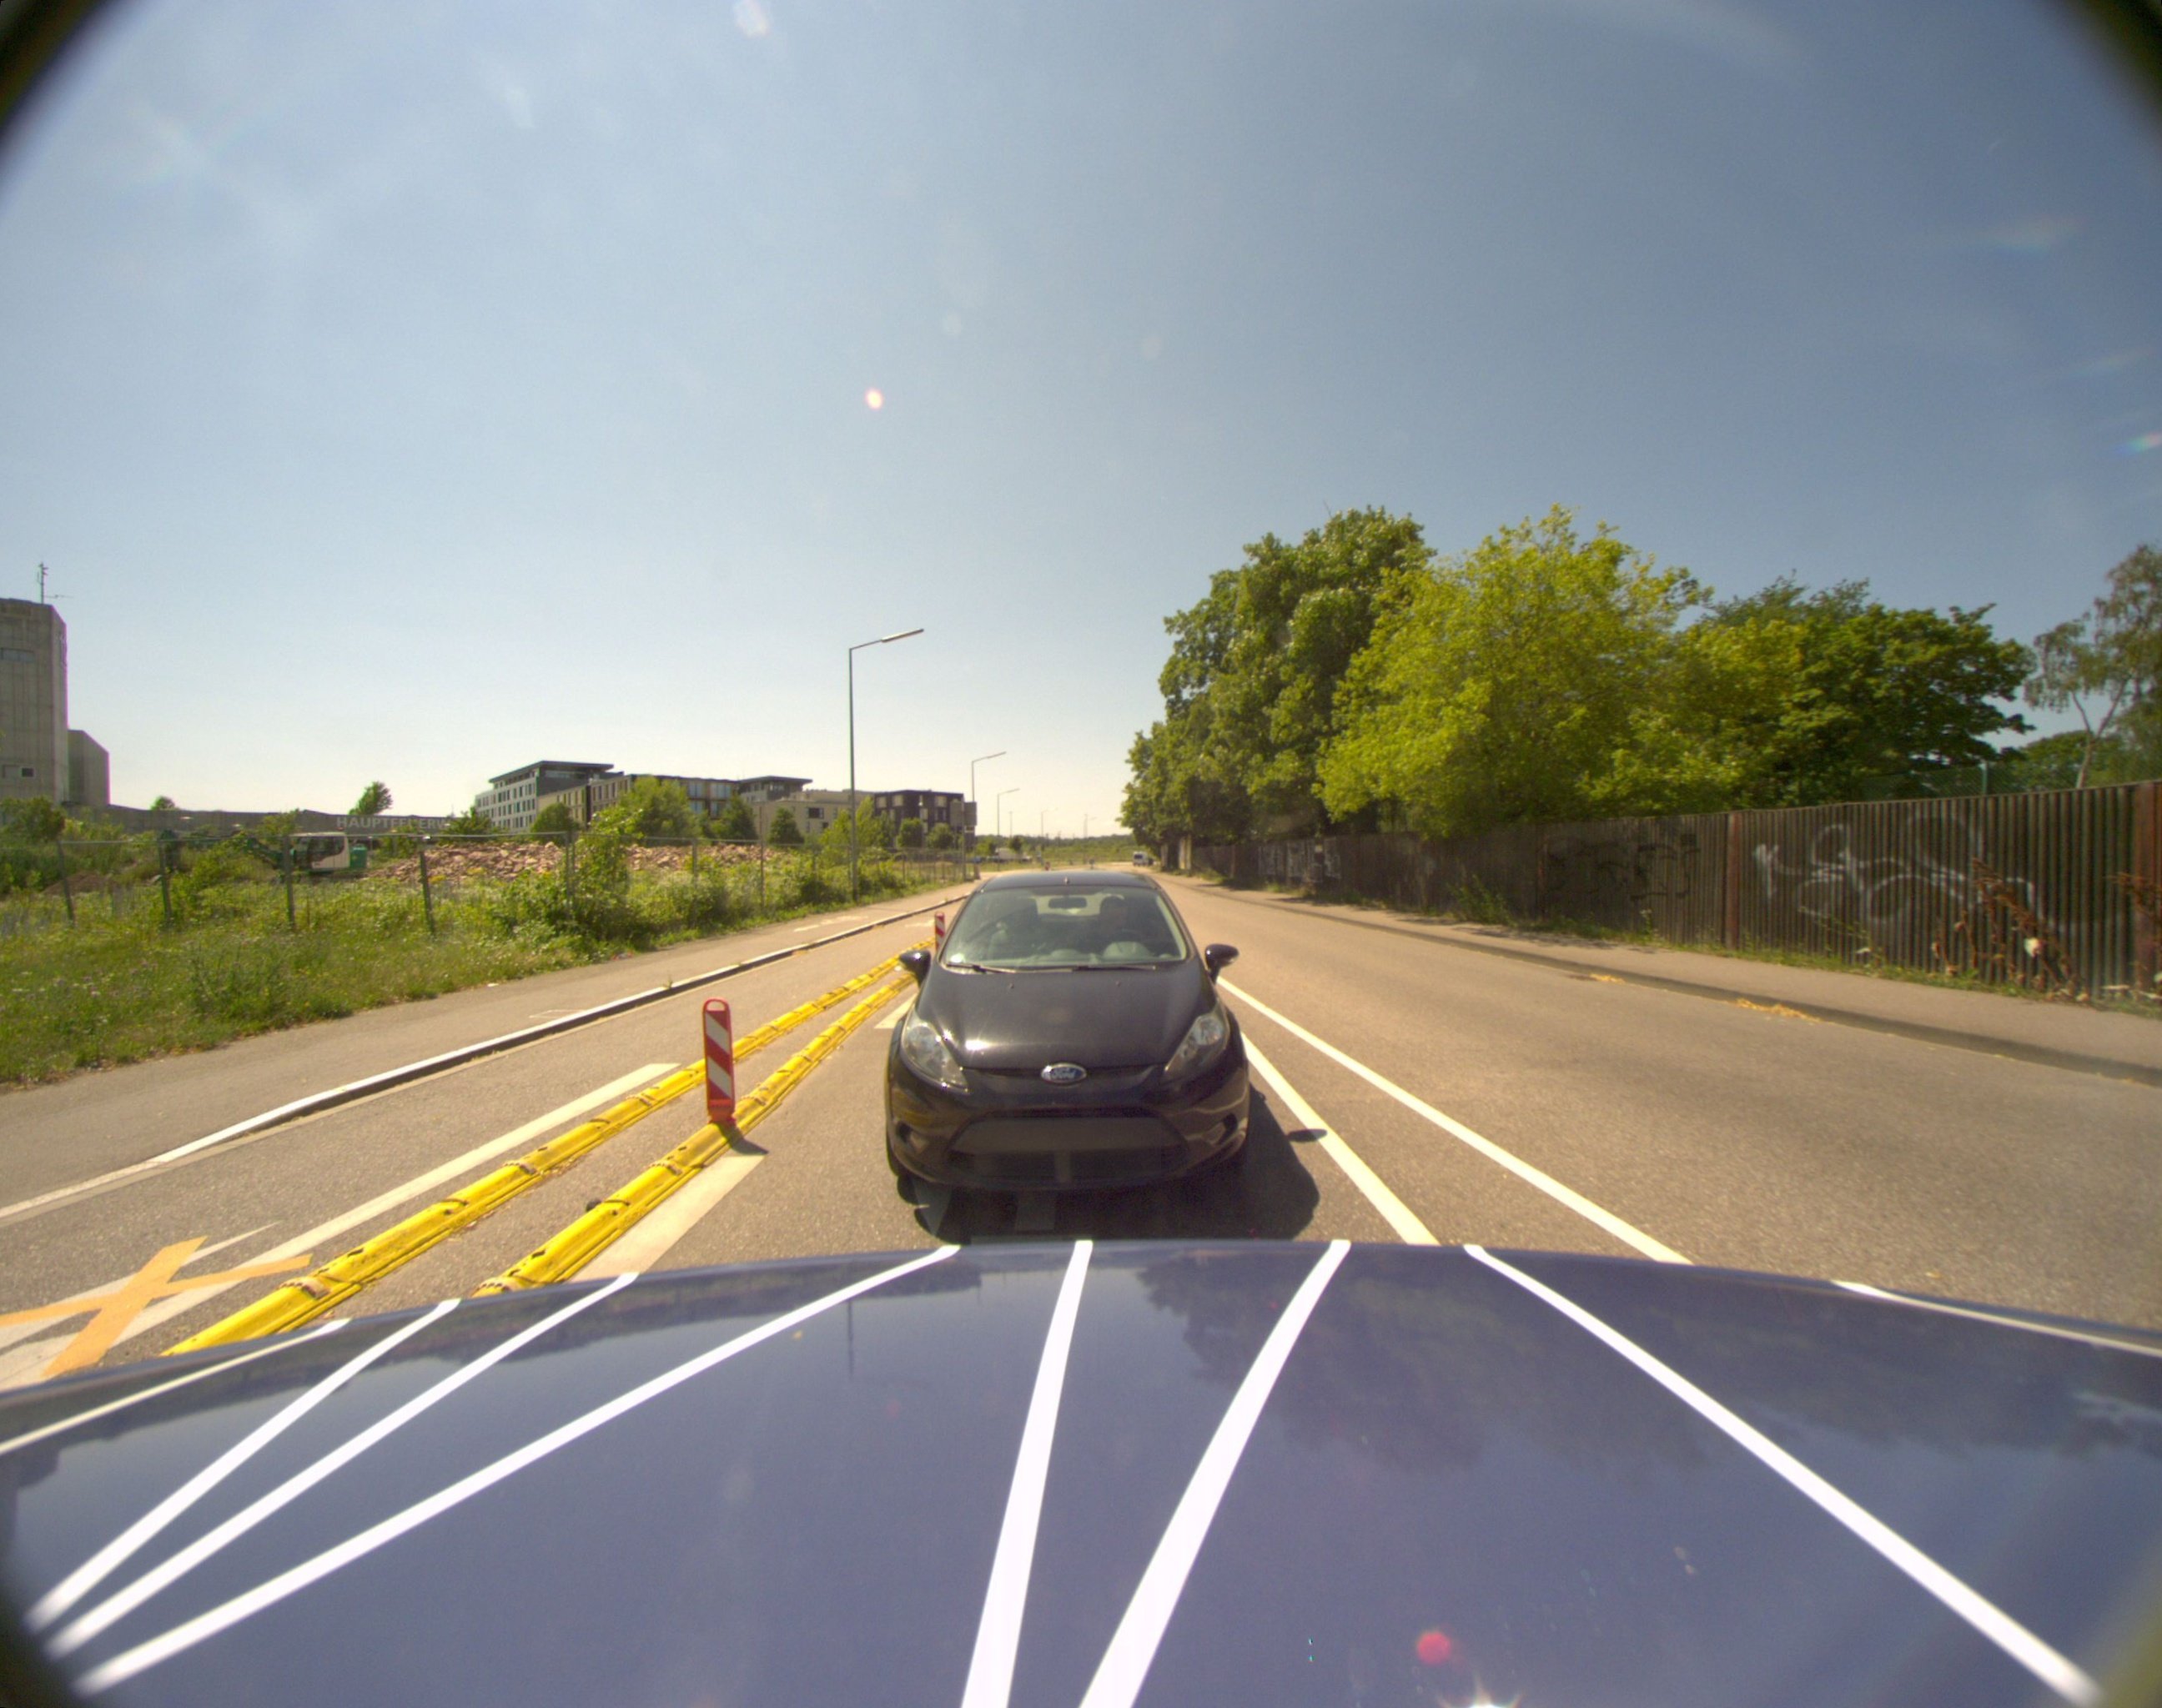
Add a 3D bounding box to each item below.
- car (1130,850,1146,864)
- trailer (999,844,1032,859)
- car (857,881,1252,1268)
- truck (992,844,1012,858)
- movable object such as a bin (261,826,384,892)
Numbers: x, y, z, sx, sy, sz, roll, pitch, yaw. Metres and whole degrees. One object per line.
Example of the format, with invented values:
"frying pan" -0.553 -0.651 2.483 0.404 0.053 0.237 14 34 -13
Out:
"car" 10.315 0.539 137.982 2.025 2.524 6.825 0 0 -2
"trailer" -15.082 -0.669 174.473 8.194 3.329 1.994 -1 0 -45
"car" -0.090 0.988 5.157 1.602 1.422 4.000 -2 0 1
"truck" -17.839 -0.666 171.733 4.008 3.316 1.994 -1 1 -45
"movable object such as a bin" -37.612 0.225 37.816 2.204 3.045 3.690 -2 1 6
